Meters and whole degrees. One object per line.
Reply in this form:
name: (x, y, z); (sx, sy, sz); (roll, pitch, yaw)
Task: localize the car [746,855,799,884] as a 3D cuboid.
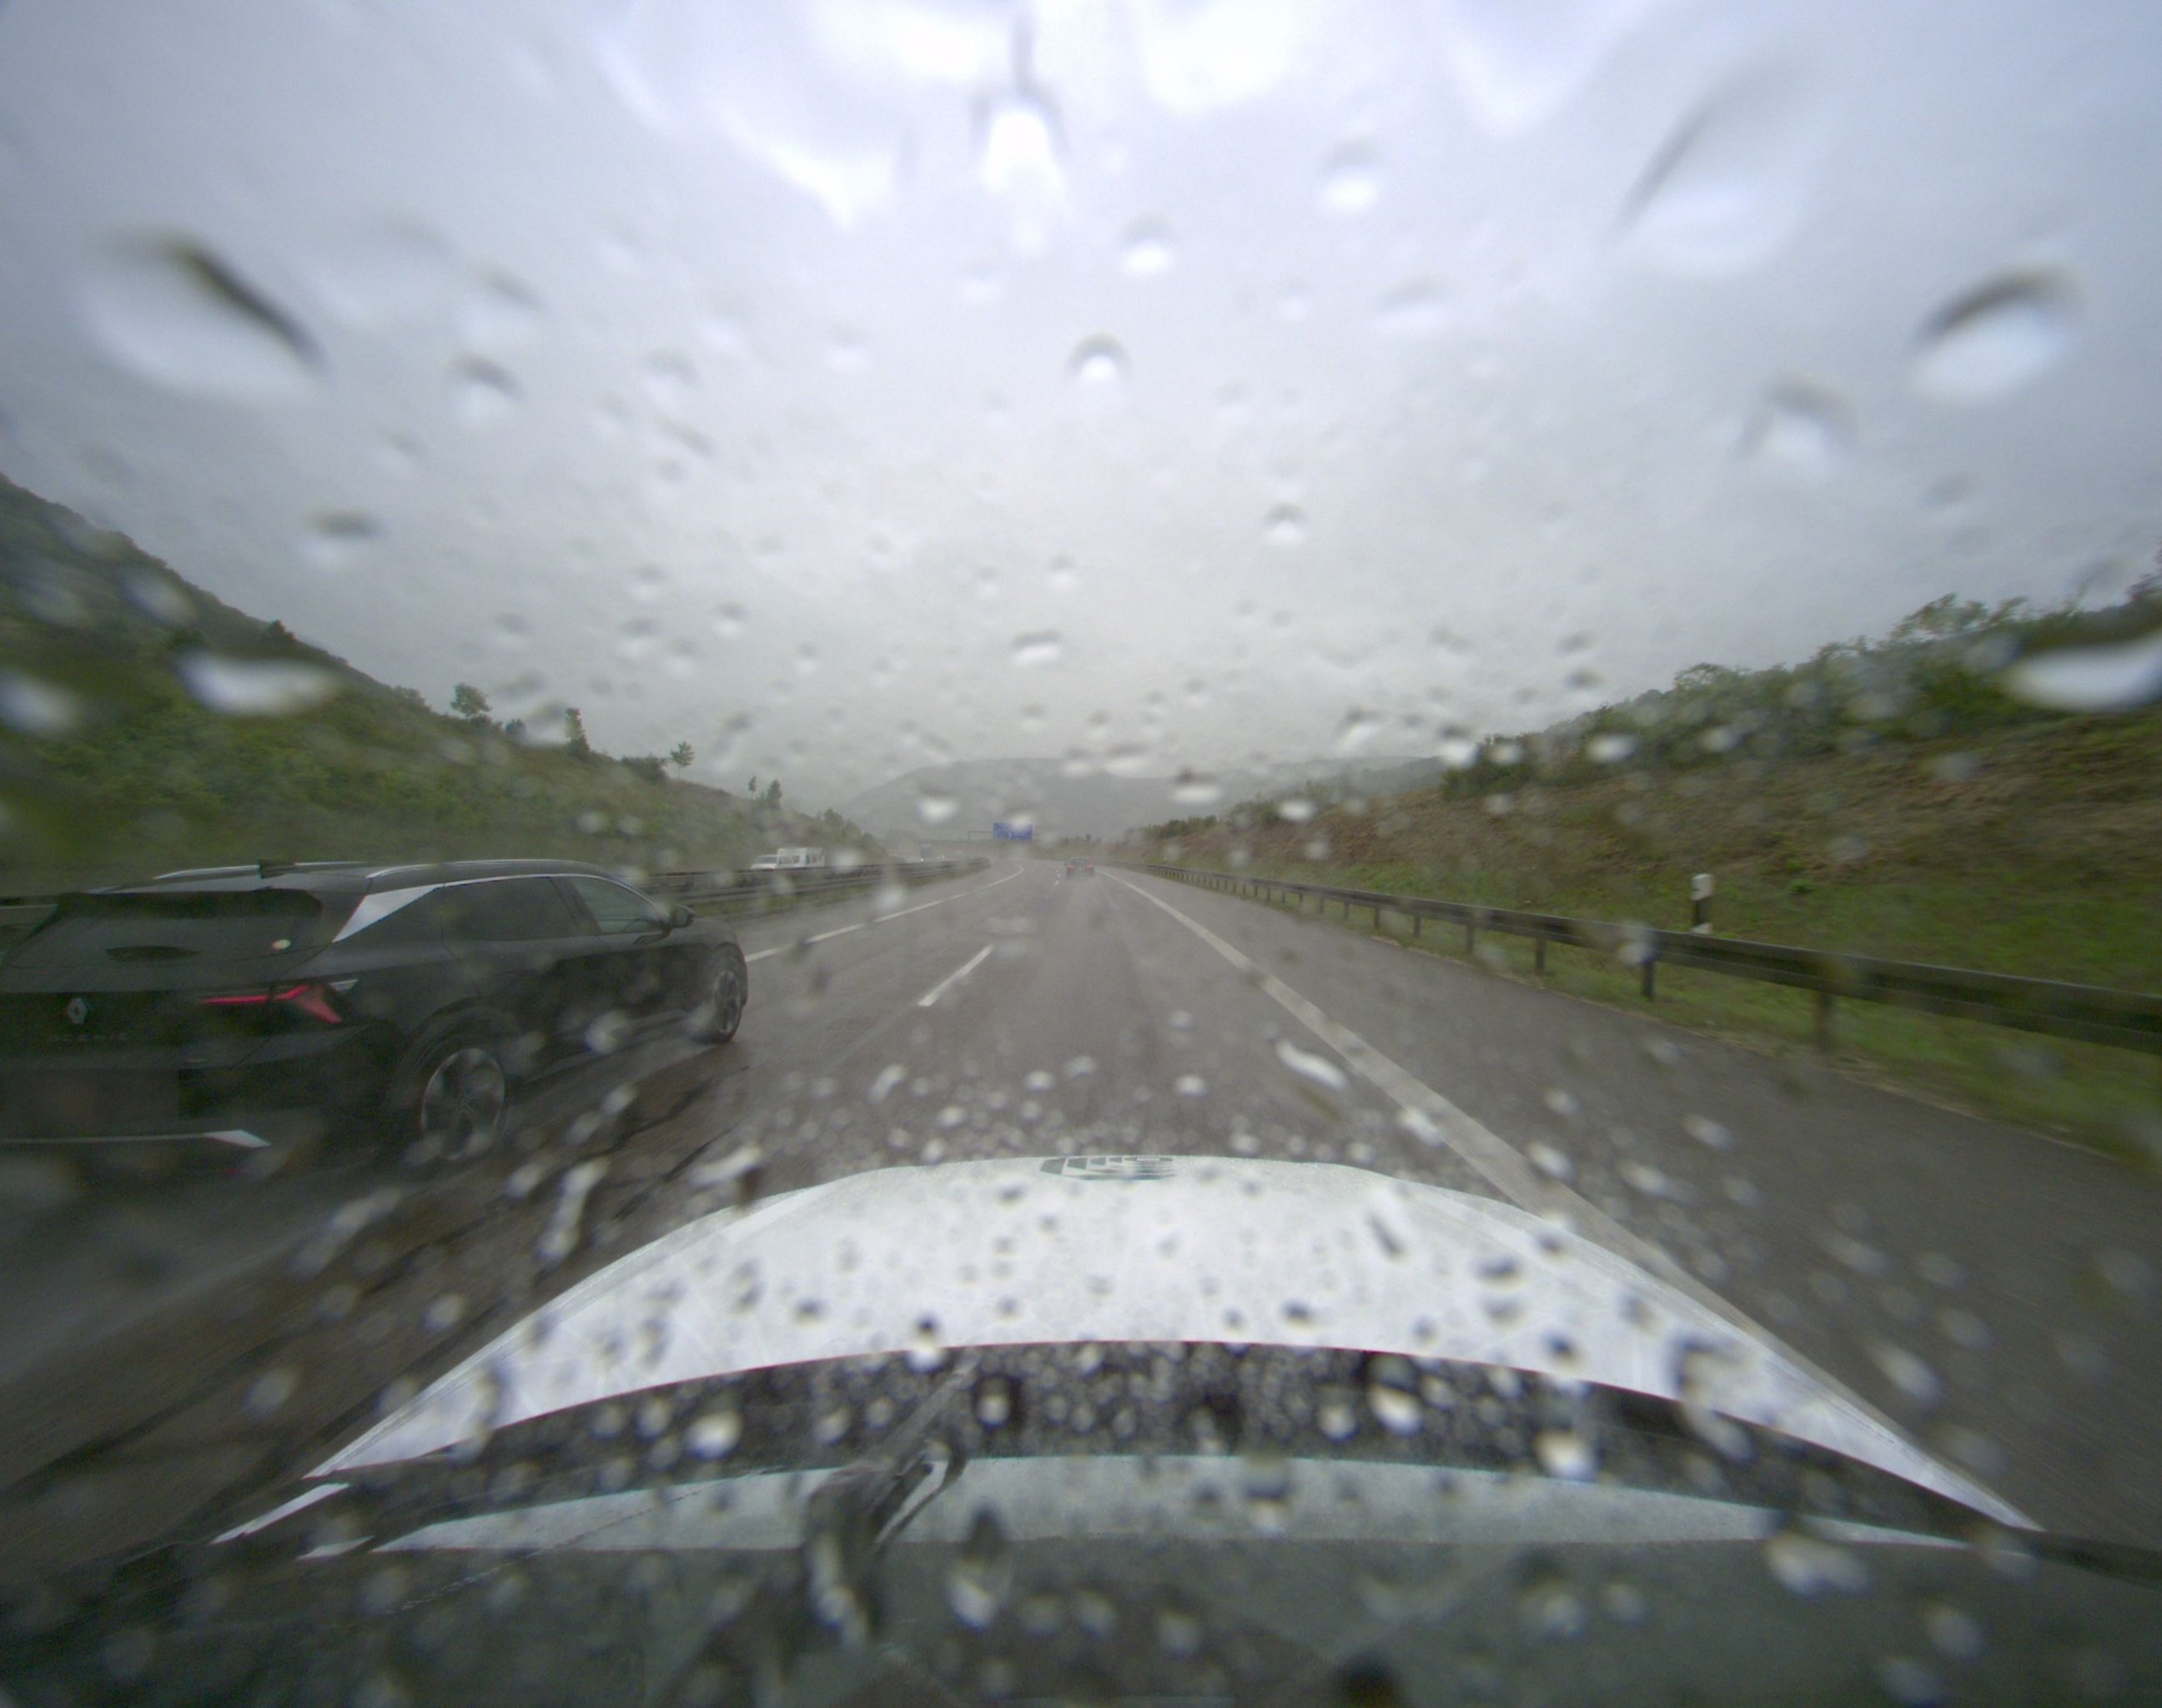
car: (-22.827, 1.118, 60.445); (1.987, 2.015, 5.177); (-1, 0, 0)

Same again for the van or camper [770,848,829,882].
van or camper: (-22.909, 0.843, 66.670); (2.337, 2.564, 7.203); (-1, 0, 0)

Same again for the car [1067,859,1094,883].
car: (-0.005, 1.073, 52.871); (1.673, 1.472, 3.814); (0, 0, 0)

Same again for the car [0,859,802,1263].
car: (-3.982, 0.796, 5.489); (2.397, 1.515, 4.786); (0, 0, 2)
